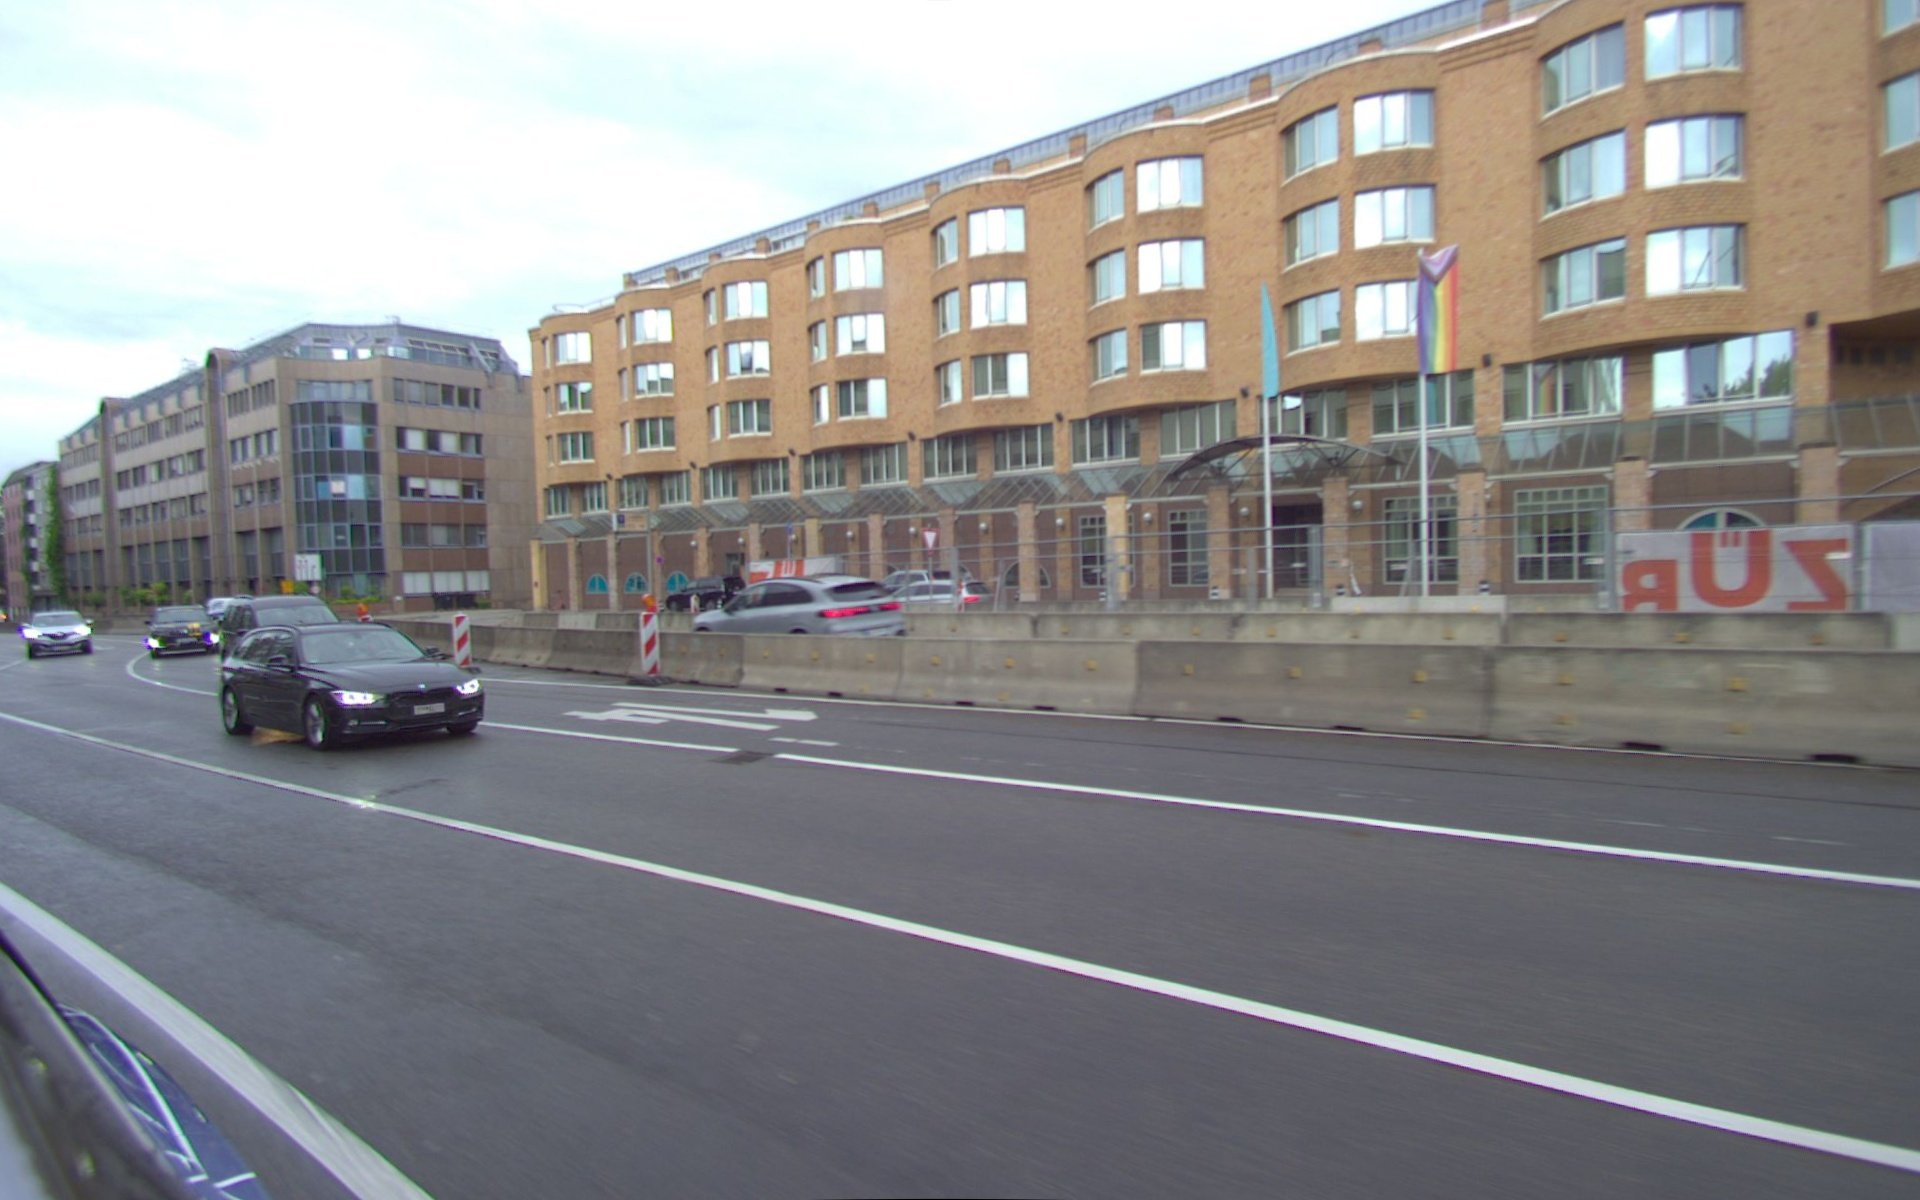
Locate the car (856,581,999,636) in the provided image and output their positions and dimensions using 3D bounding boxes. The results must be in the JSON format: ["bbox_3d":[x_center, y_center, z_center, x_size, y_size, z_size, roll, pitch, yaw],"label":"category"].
[{"bbox_3d":[-1.078,0.285,31.916,4.356,1.537,1.744,-2,0,37],"label":"car"}]

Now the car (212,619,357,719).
[{"bbox_3d":[-14.438,1.380,21.532,1.773,1.814,4.254,-4,1,-44],"label":"car"}]

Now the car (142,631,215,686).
[{"bbox_3d":[-25.865,1.874,33.536,1.745,1.545,4.365,-4,1,-37],"label":"car"}]

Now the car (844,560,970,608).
[{"bbox_3d":[-2.240,-0.644,41.755,5.042,1.703,1.975,-3,1,38],"label":"car"}]

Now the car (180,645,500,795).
[{"bbox_3d":[-7.954,1.386,12.818,4.646,1.454,1.752,-2,1,36],"label":"car"}]

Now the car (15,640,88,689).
[{"bbox_3d":[-33.706,2.330,37.503,1.747,1.545,4.659,-4,1,-44],"label":"car"}]

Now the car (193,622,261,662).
[{"bbox_3d":[-39.368,2.249,54.317,4.869,1.899,1.972,-2,1,43],"label":"car"}]

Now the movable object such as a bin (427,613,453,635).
[{"bbox_3d":[-37.699,1.730,73.382,1.351,1.491,1.229,-2,1,44],"label":"movable object such as a bin"}]

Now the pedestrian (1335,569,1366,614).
[{"bbox_3d":[12.949,-0.275,33.559,0.736,1.463,0.610,-3,0,40],"label":"pedestrian"}]

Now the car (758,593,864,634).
[{"bbox_3d":[-6.663,0.609,45.127,4.529,1.605,1.977,-3,1,35],"label":"car"}]

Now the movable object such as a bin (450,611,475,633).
[{"bbox_3d":[-36.614,1.610,74.475,1.351,1.491,1.229,-2,1,44],"label":"movable object such as a bin"}]

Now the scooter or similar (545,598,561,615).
[{"bbox_3d":[-25.885,0.420,64.417,1.044,1.071,0.444,-2,1,40],"label":"scooter or similar"}]

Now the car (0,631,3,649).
[{"bbox_3d":[-99.617,4.165,103.438,4.870,1.796,1.868,-2,1,38],"label":"car"}]

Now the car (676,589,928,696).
[{"bbox_3d":[-2.978,0.758,18.353,4.701,1.635,1.972,-3,0,43],"label":"car"}]

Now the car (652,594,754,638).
[{"bbox_3d":[-12.541,0.796,49.279,5.003,1.900,1.976,-3,1,36],"label":"car"}]
